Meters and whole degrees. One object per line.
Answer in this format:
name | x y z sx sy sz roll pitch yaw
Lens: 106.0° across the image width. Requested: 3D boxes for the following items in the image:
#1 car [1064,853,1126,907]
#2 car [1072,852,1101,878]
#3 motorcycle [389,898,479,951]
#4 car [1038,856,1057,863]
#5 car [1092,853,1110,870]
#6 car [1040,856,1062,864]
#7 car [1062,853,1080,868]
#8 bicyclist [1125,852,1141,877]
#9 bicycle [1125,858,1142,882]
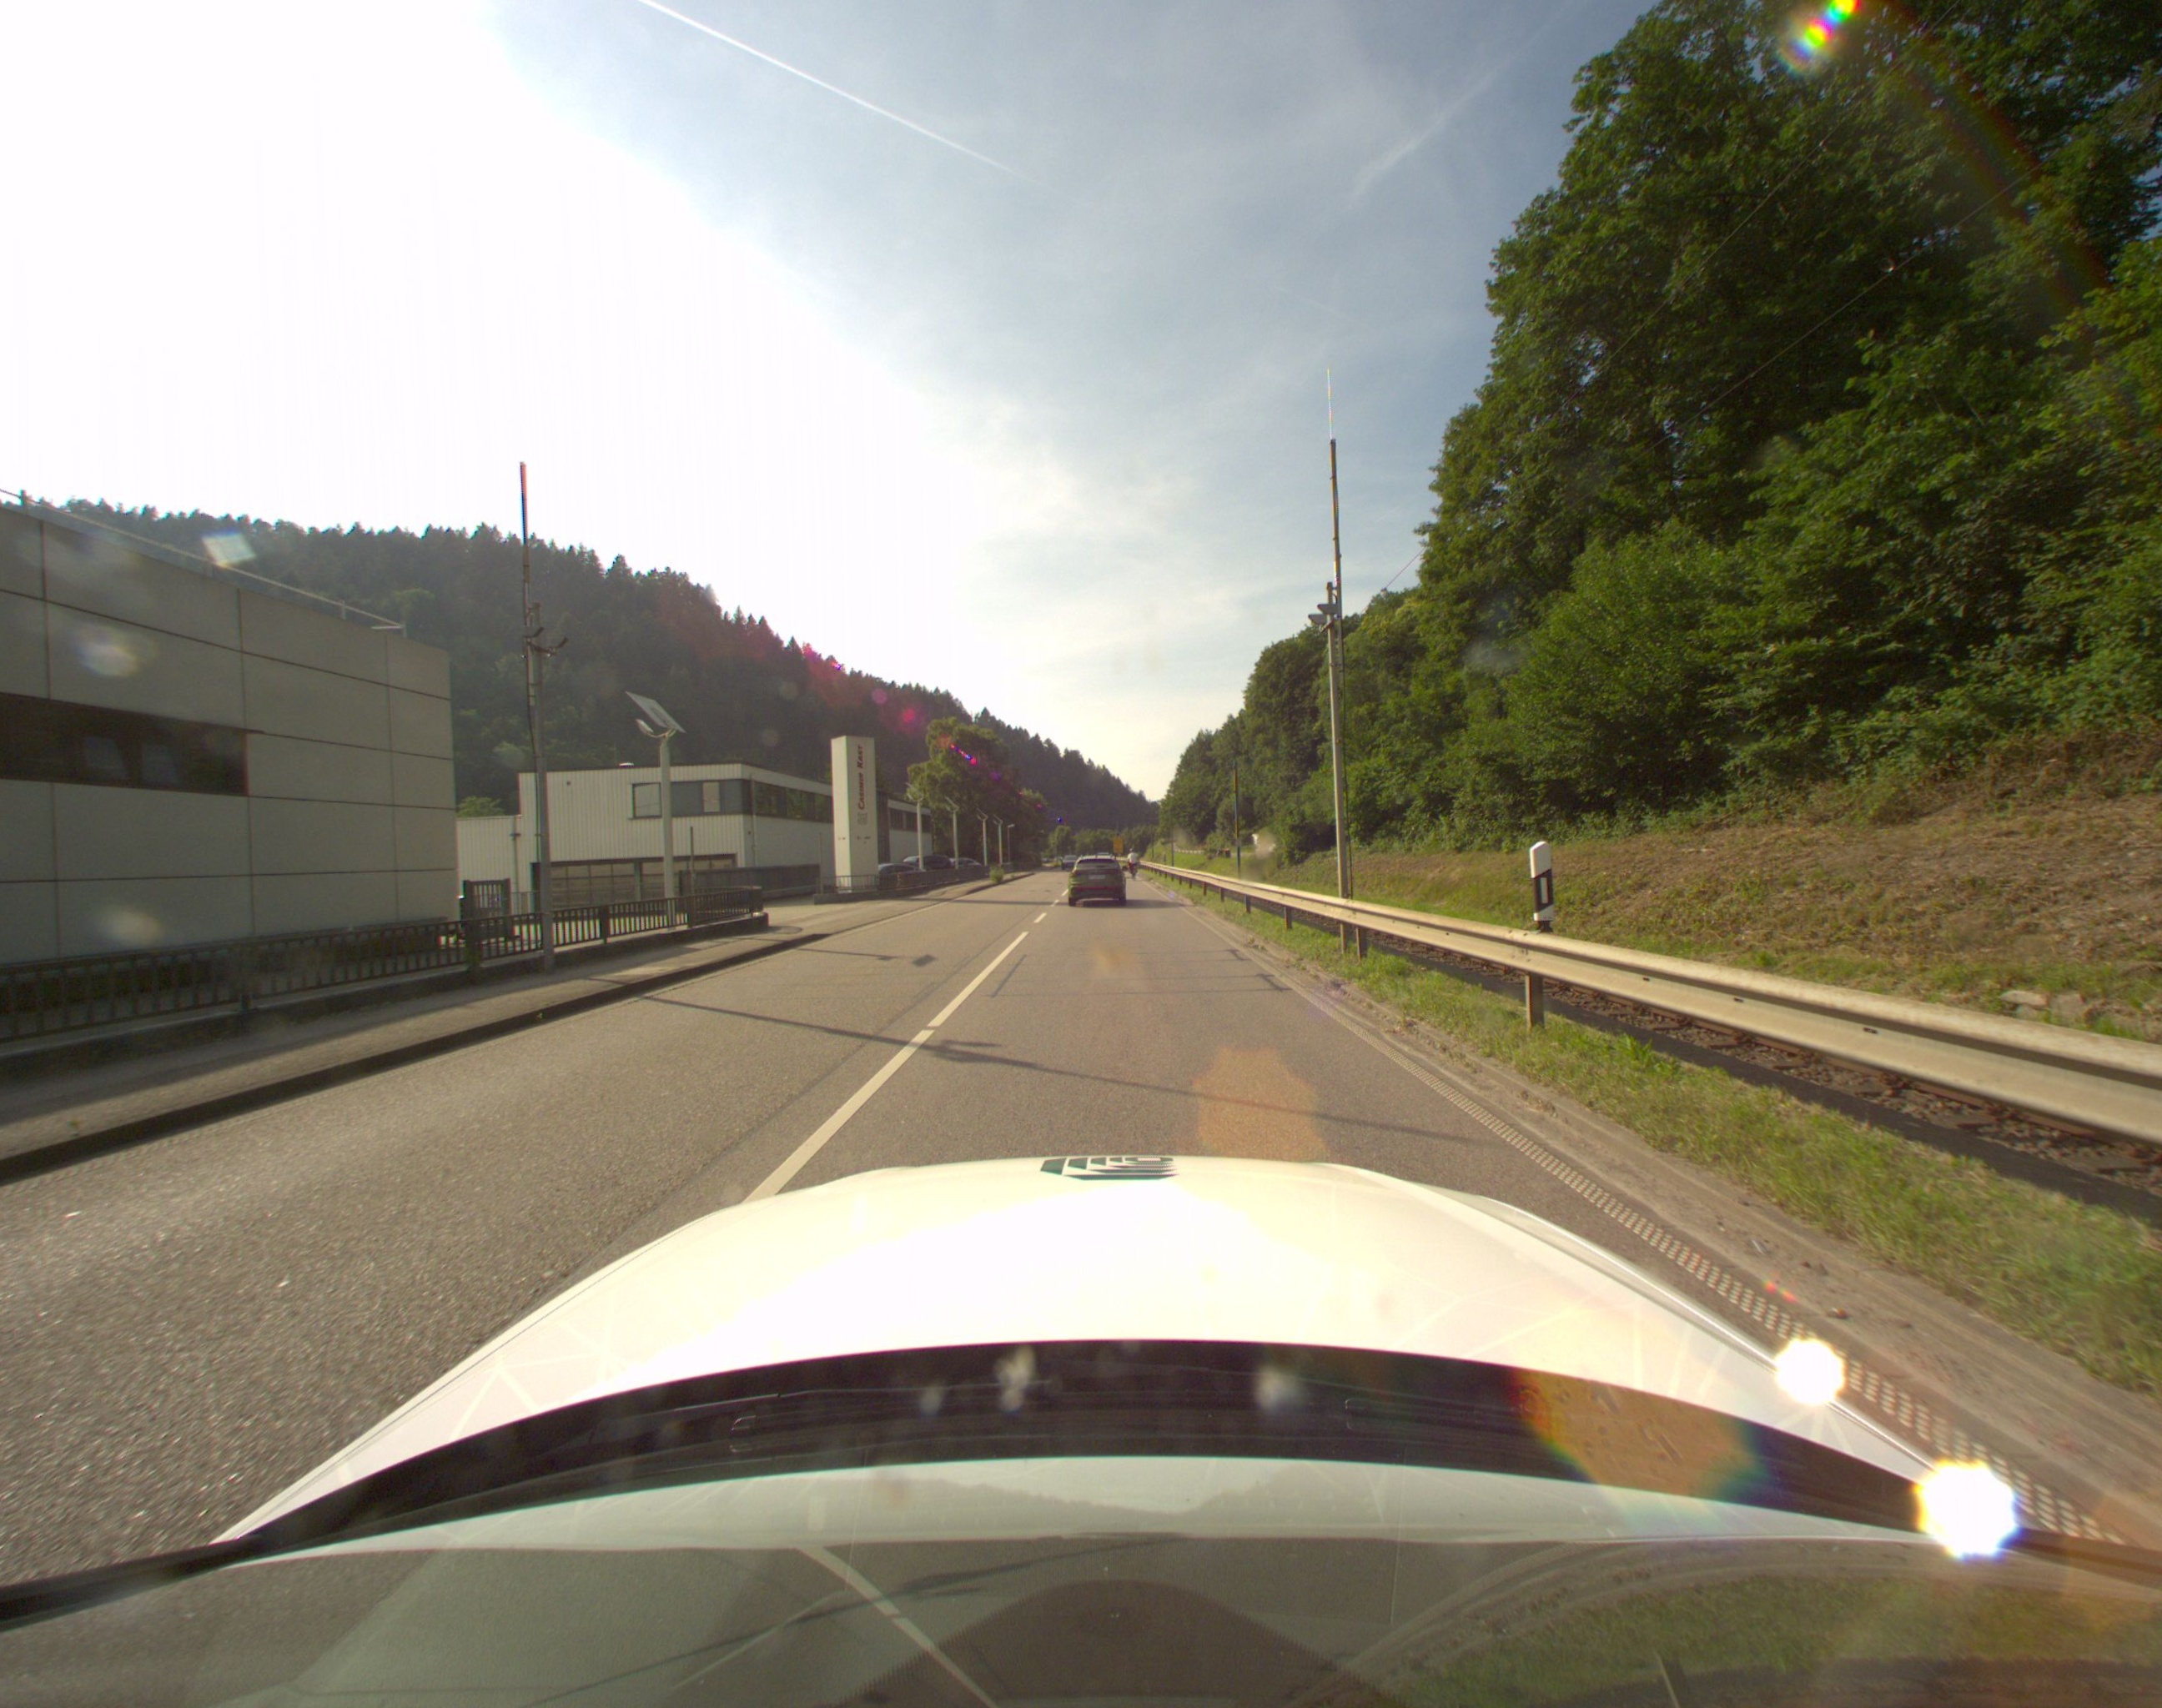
car | 0.434 0.748 25.335 1.733 1.508 4.000 -1 0 1
car | 0.373 0.681 52.783 1.733 1.602 4.000 -1 0 1
motorcycle | -16.531 1.777 20.889 0.510 1.152 2.090 -3 0 2
car | -7.502 1.234 183.699 4.242 1.433 1.557 -2 0 2
car | 1.912 0.731 78.887 1.733 1.602 4.000 -1 0 1
car | -5.921 1.158 162.707 4.242 1.433 1.557 -2 0 2
car | -1.019 0.635 84.934 1.671 1.485 4.247 0 0 1
bicyclist | 2.943 0.589 46.058 0.779 1.412 0.675 -2 0 -1
bicycle | 2.951 0.889 46.021 0.809 1.250 2.122 -2 0 0
